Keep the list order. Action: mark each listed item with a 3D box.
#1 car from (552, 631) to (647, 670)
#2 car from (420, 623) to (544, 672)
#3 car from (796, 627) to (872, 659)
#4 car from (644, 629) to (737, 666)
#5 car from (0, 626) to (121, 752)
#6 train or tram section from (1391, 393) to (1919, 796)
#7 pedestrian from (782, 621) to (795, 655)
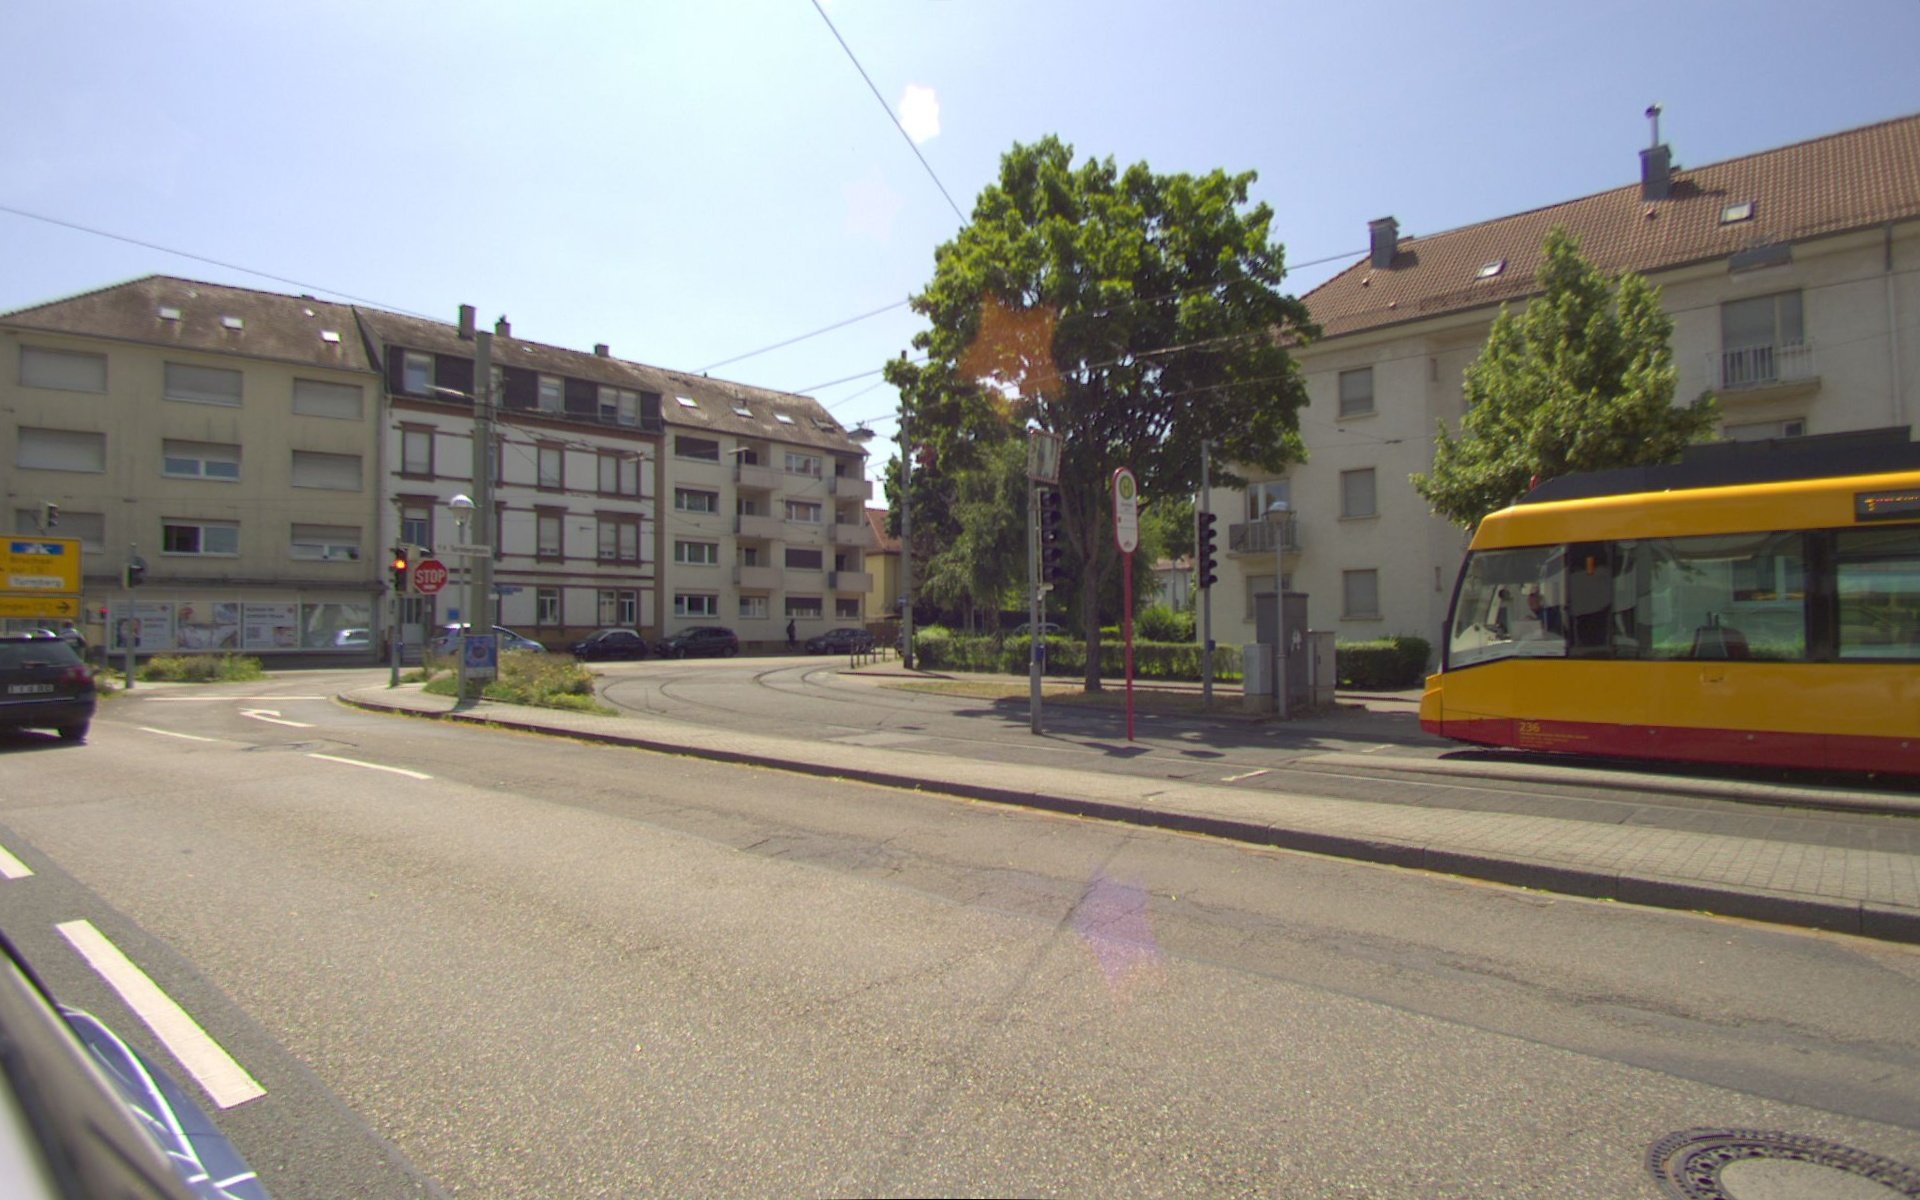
[{"bbox_3d":[-16.806,2.320,47.240,2.001,1.597,3.704,-1,0,45],"label":"car"},{"bbox_3d":[-18.057,1.758,38.331,3.937,1.630,1.763,-1,0,-40],"label":"car"},{"bbox_3d":[-7.042,2.386,56.802,1.815,1.597,4.011,-1,0,45],"label":"car"},{"bbox_3d":[-13.385,2.328,50.409,2.001,1.597,4.011,-1,0,45],"label":"car"},{"bbox_3d":[-13.404,1.107,13.612,4.795,1.502,1.822,-1,-2,32],"label":"car"},{"bbox_3d":[10.777,-0.115,8.687,12.710,3.521,2.932,-2,-1,42],"label":"train or tram section"},{"bbox_3d":[-9.624,2.125,56.712,0.428,1.871,0.549,-1,0,45],"label":"pedestrian"}]
